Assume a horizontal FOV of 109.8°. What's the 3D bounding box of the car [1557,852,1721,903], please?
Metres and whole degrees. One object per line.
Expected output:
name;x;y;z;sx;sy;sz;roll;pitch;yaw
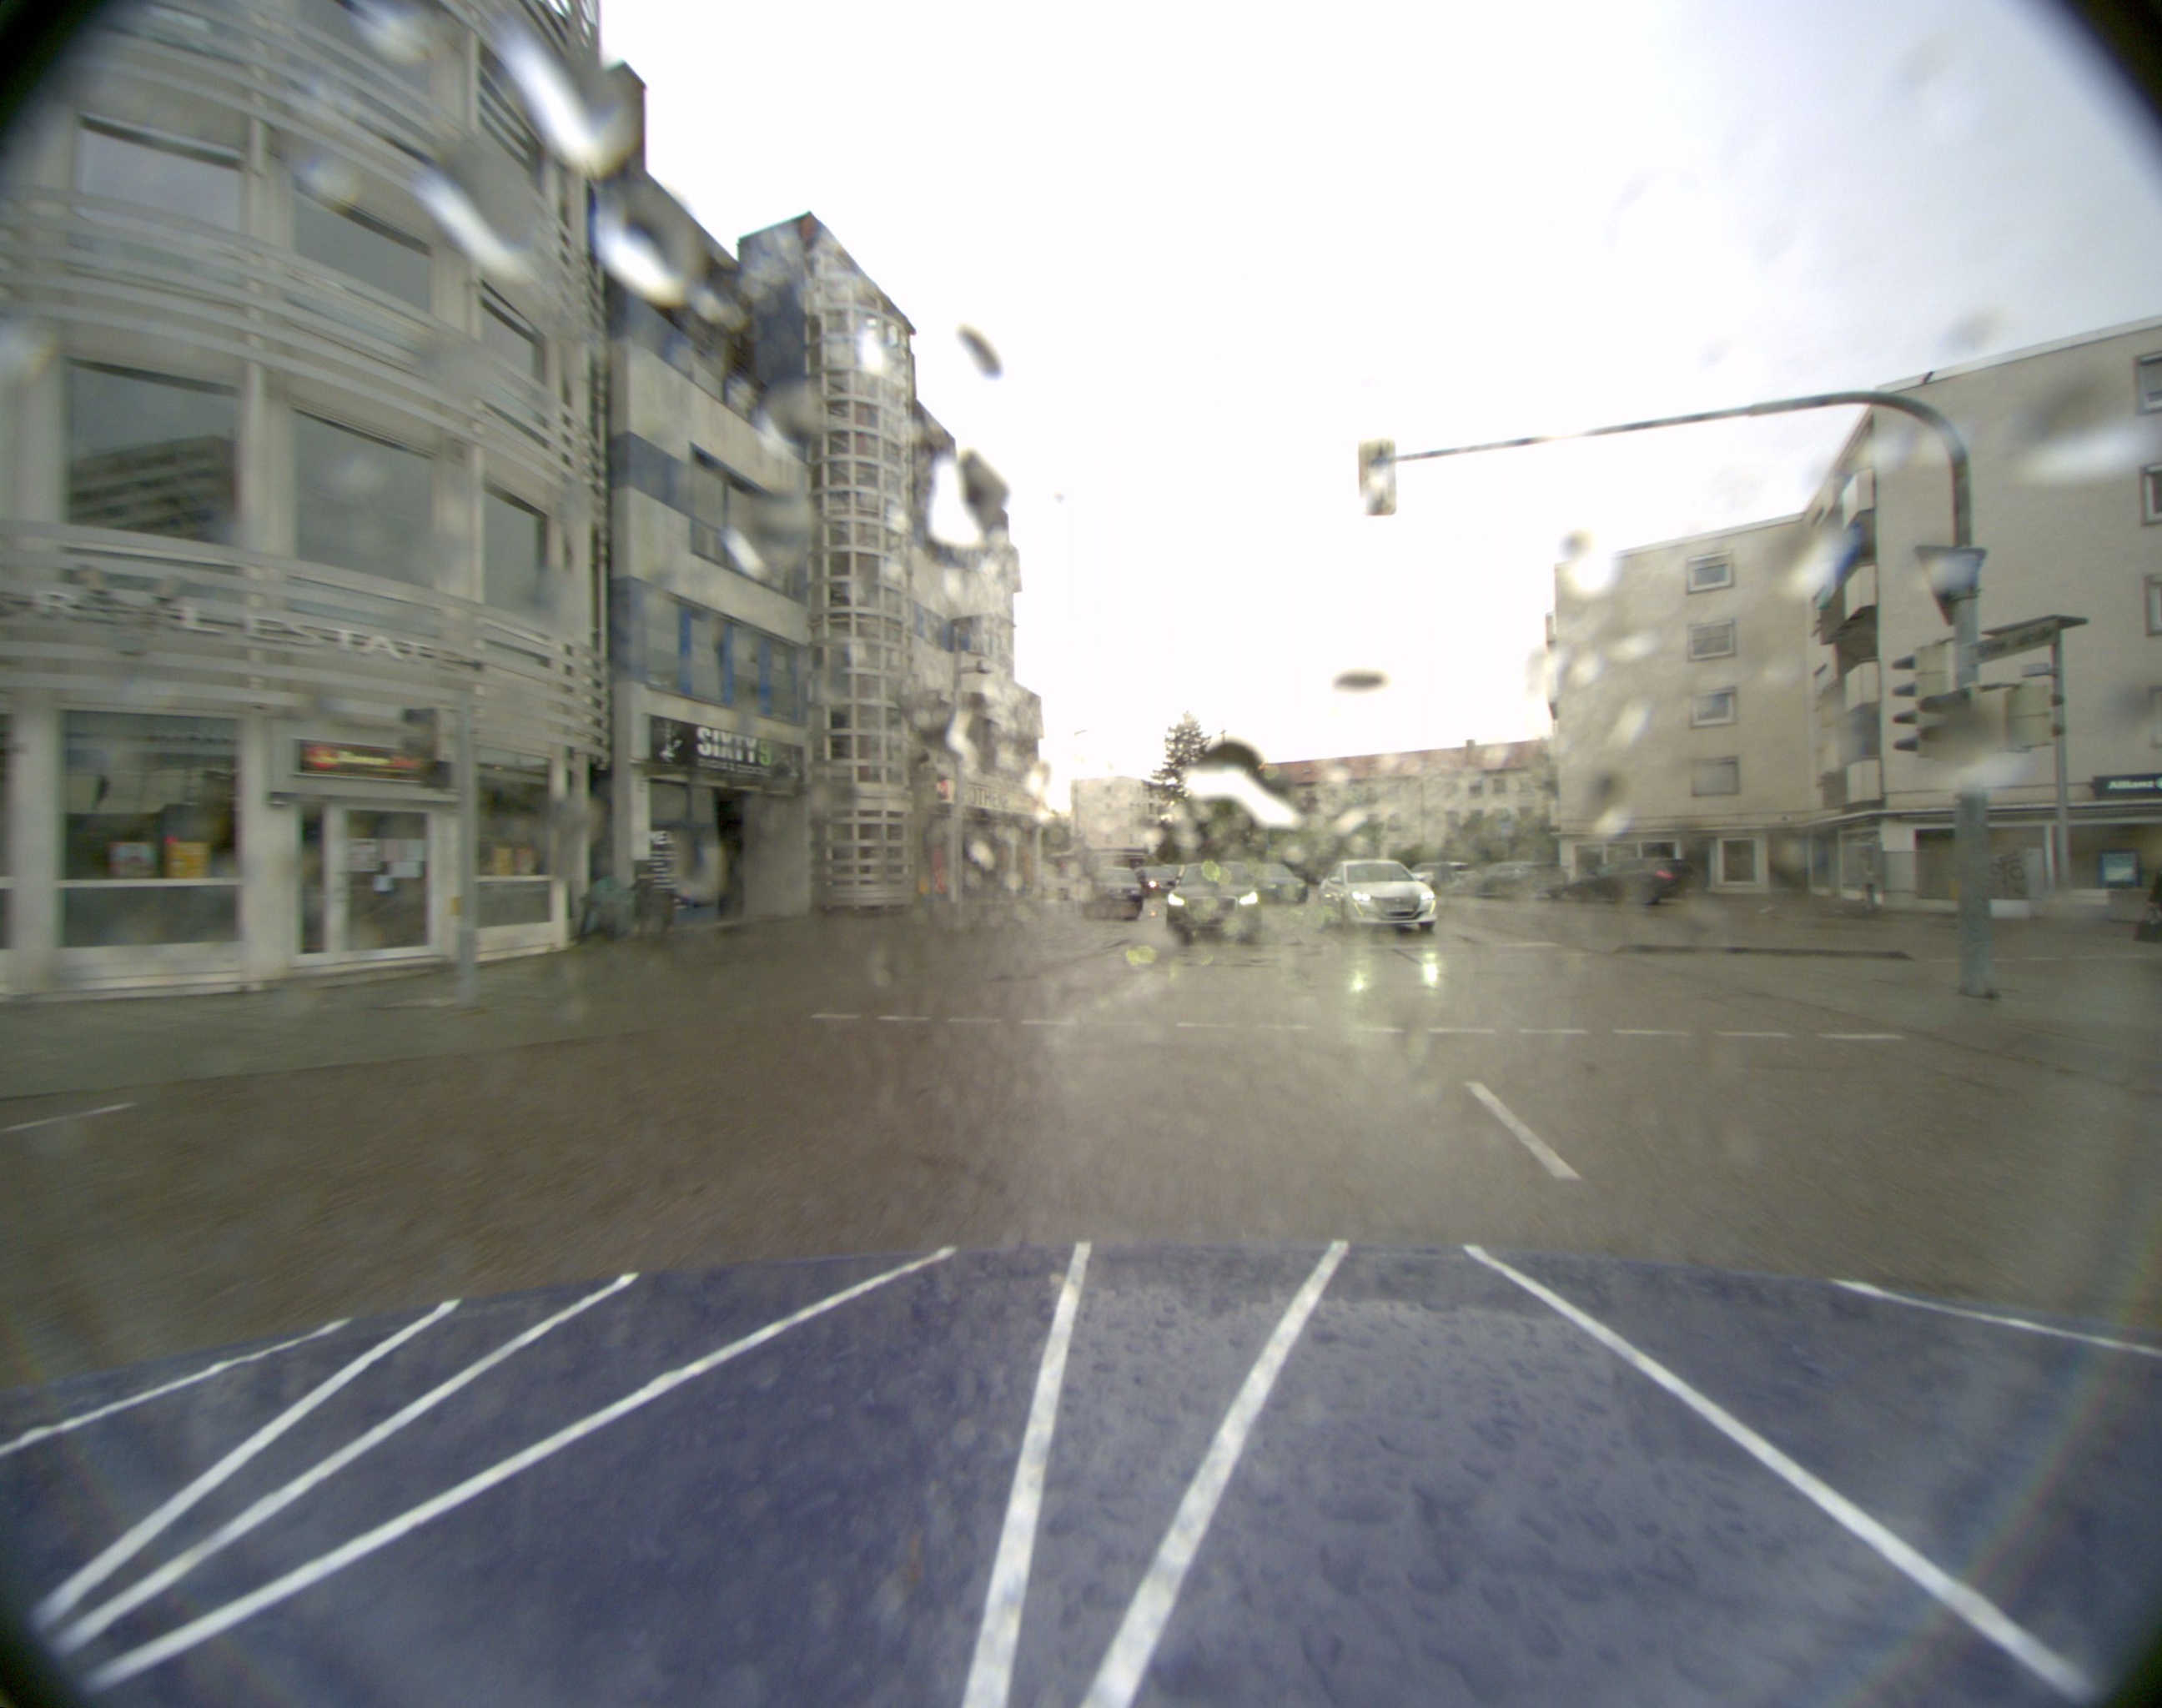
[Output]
car;18.002;0.707;24.791;1.837;1.451;4.184;-2;0;-10

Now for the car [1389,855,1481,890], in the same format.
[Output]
car;16.276;0.824;35.201;1.638;1.491;4.343;-1;0;-10

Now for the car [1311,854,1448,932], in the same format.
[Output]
car;6.208;0.766;16.260;1.742;1.401;3.898;-3;-1;7

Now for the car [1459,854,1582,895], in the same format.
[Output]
car;17.190;0.752;30.001;1.838;1.425;4.270;-2;0;-10

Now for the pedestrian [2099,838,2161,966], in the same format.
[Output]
pedestrian;13.692;0.588;9.517;0.657;1.576;0.914;-1;0;2

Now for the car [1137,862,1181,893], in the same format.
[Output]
car;3.756;1.114;36.985;1.800;1.360;3.973;-1;0;1

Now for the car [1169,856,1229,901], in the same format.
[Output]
car;4.361;0.907;28.589;1.733;1.519;4.064;-1;-1;2

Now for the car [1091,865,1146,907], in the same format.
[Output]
car;1.270;1.089;27.072;1.654;1.364;3.731;1;-1;-2

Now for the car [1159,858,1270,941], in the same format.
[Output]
car;2.917;0.856;15.875;1.732;1.436;4.052;-2;0;17

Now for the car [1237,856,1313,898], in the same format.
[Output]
car;7.223;0.807;28.670;1.751;1.446;3.812;-1;0;-2

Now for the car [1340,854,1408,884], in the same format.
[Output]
car;15.606;0.801;40.709;1.634;1.496;3.878;-1;0;-10
